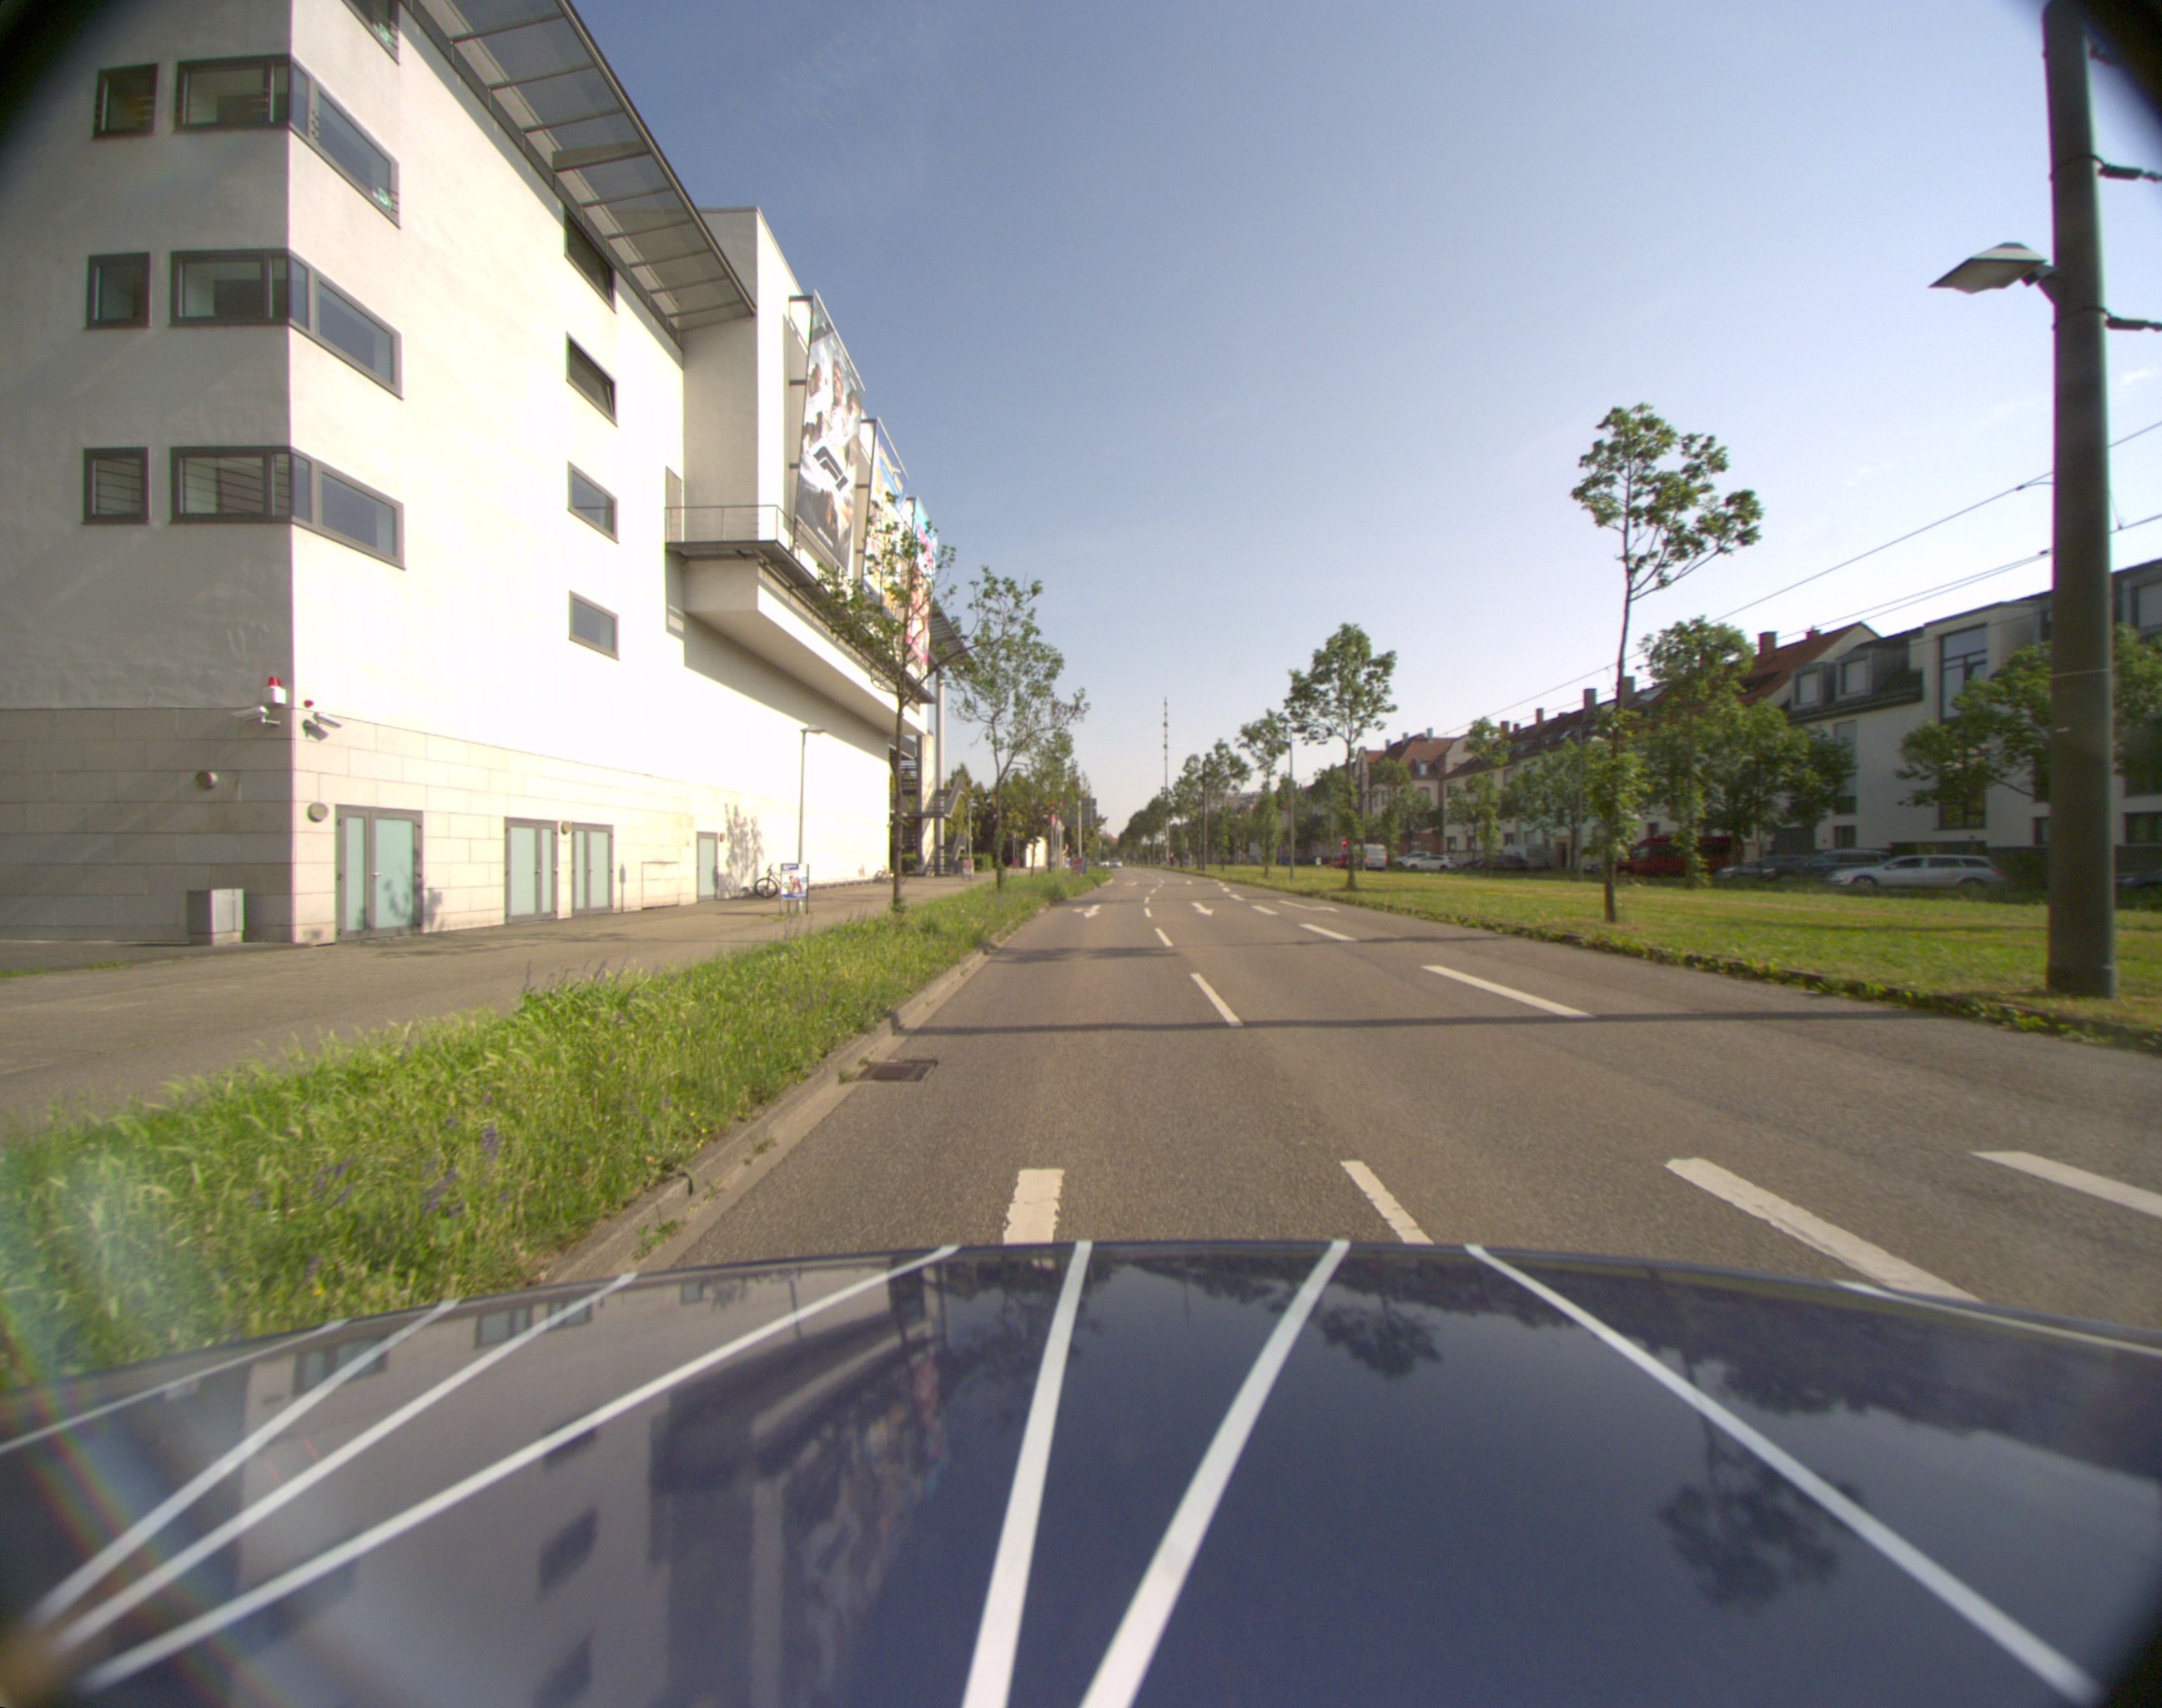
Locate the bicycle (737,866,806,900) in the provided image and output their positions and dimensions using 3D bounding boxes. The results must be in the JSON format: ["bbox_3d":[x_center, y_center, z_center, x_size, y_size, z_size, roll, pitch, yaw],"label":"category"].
[{"bbox_3d":[-10.116,0.942,24.857,2.012,1.096,0.676,-1,1,6],"label":"bicycle"}]

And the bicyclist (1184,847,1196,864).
[{"bbox_3d":[12.558,0.150,87.312,1.185,1.840,0.911,-2,1,19],"label":"bicyclist"}]

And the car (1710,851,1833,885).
[{"bbox_3d":[31.622,0.652,34.963,3.989,1.412,1.785,-2,1,37],"label":"car"}]

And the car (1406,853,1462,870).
[{"bbox_3d":[32.710,0.680,70.501,4.354,1.466,1.861,-2,1,39],"label":"car"}]

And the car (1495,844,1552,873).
[{"bbox_3d":[39.752,0.339,68.417,1.998,2.449,5.578,-2,0,3],"label":"car"}]

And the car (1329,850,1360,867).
[{"bbox_3d":[27.447,0.430,79.274,1.820,1.728,4.161,1,0,3],"label":"car"}]

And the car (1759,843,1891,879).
[{"bbox_3d":[31.195,0.302,32.011,3.711,1.426,1.645,-2,0,34],"label":"car"}]

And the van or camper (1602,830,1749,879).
[{"bbox_3d":[32.282,0.038,41.476,6.144,2.532,2.419,-1,0,39],"label":"van or camper"}]

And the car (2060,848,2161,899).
[{"bbox_3d":[31.600,0.530,21.737,3.990,1.368,1.839,-2,1,28],"label":"car"}]

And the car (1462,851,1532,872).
[{"bbox_3d":[31.810,0.580,58.084,4.338,1.521,2.004,-2,1,41],"label":"car"}]

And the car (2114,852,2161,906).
[{"bbox_3d":[30.477,0.616,19.666,3.990,1.368,1.930,-2,1,28],"label":"car"}]

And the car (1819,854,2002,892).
[{"bbox_3d":[31.174,0.718,28.782,4.387,1.312,1.737,-2,0,34],"label":"car"}]

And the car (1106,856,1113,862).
[{"bbox_3d":[8.290,1.502,218.616,1.998,1.652,4.000,0,0,1],"label":"car"}]

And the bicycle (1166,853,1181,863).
[{"bbox_3d":[10.348,0.456,84.959,1.756,1.139,0.575,0,1,-34],"label":"bicycle"}]

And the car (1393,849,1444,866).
[{"bbox_3d":[32.605,0.328,73.456,4.087,1.520,1.816,-2,1,39],"label":"car"}]

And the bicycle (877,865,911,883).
[{"bbox_3d":[-9.750,1.043,39.626,1.661,0.910,0.482,0,1,2],"label":"bicycle"}]

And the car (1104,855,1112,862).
[{"bbox_3d":[6.721,1.136,187.361,1.998,1.652,4.000,0,0,1],"label":"car"}]

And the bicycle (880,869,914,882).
[{"bbox_3d":[-9.754,1.142,40.298,1.661,0.641,0.538,0,0,2],"label":"bicycle"}]

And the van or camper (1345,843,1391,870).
[{"bbox_3d":[27.202,0.215,72.306,2.147,2.459,6.058,1,0,1],"label":"van or camper"}]

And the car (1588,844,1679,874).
[{"bbox_3d":[32.355,0.322,44.542,4.141,1.607,1.872,-1,3,40],"label":"car"}]

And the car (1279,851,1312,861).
[{"bbox_3d":[33.601,0.274,119.179,4.503,1.432,2.004,-2,1,33],"label":"car"}]

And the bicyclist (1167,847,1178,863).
[{"bbox_3d":[10.260,0.096,84.998,0.872,1.812,0.906,-1,1,-34],"label":"bicyclist"}]

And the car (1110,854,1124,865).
[{"bbox_3d":[5.360,0.812,113.144,1.998,1.652,4.000,0,0,1],"label":"car"}]

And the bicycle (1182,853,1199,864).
[{"bbox_3d":[12.614,0.514,87.409,1.789,1.139,0.577,-2,1,19],"label":"bicycle"}]
